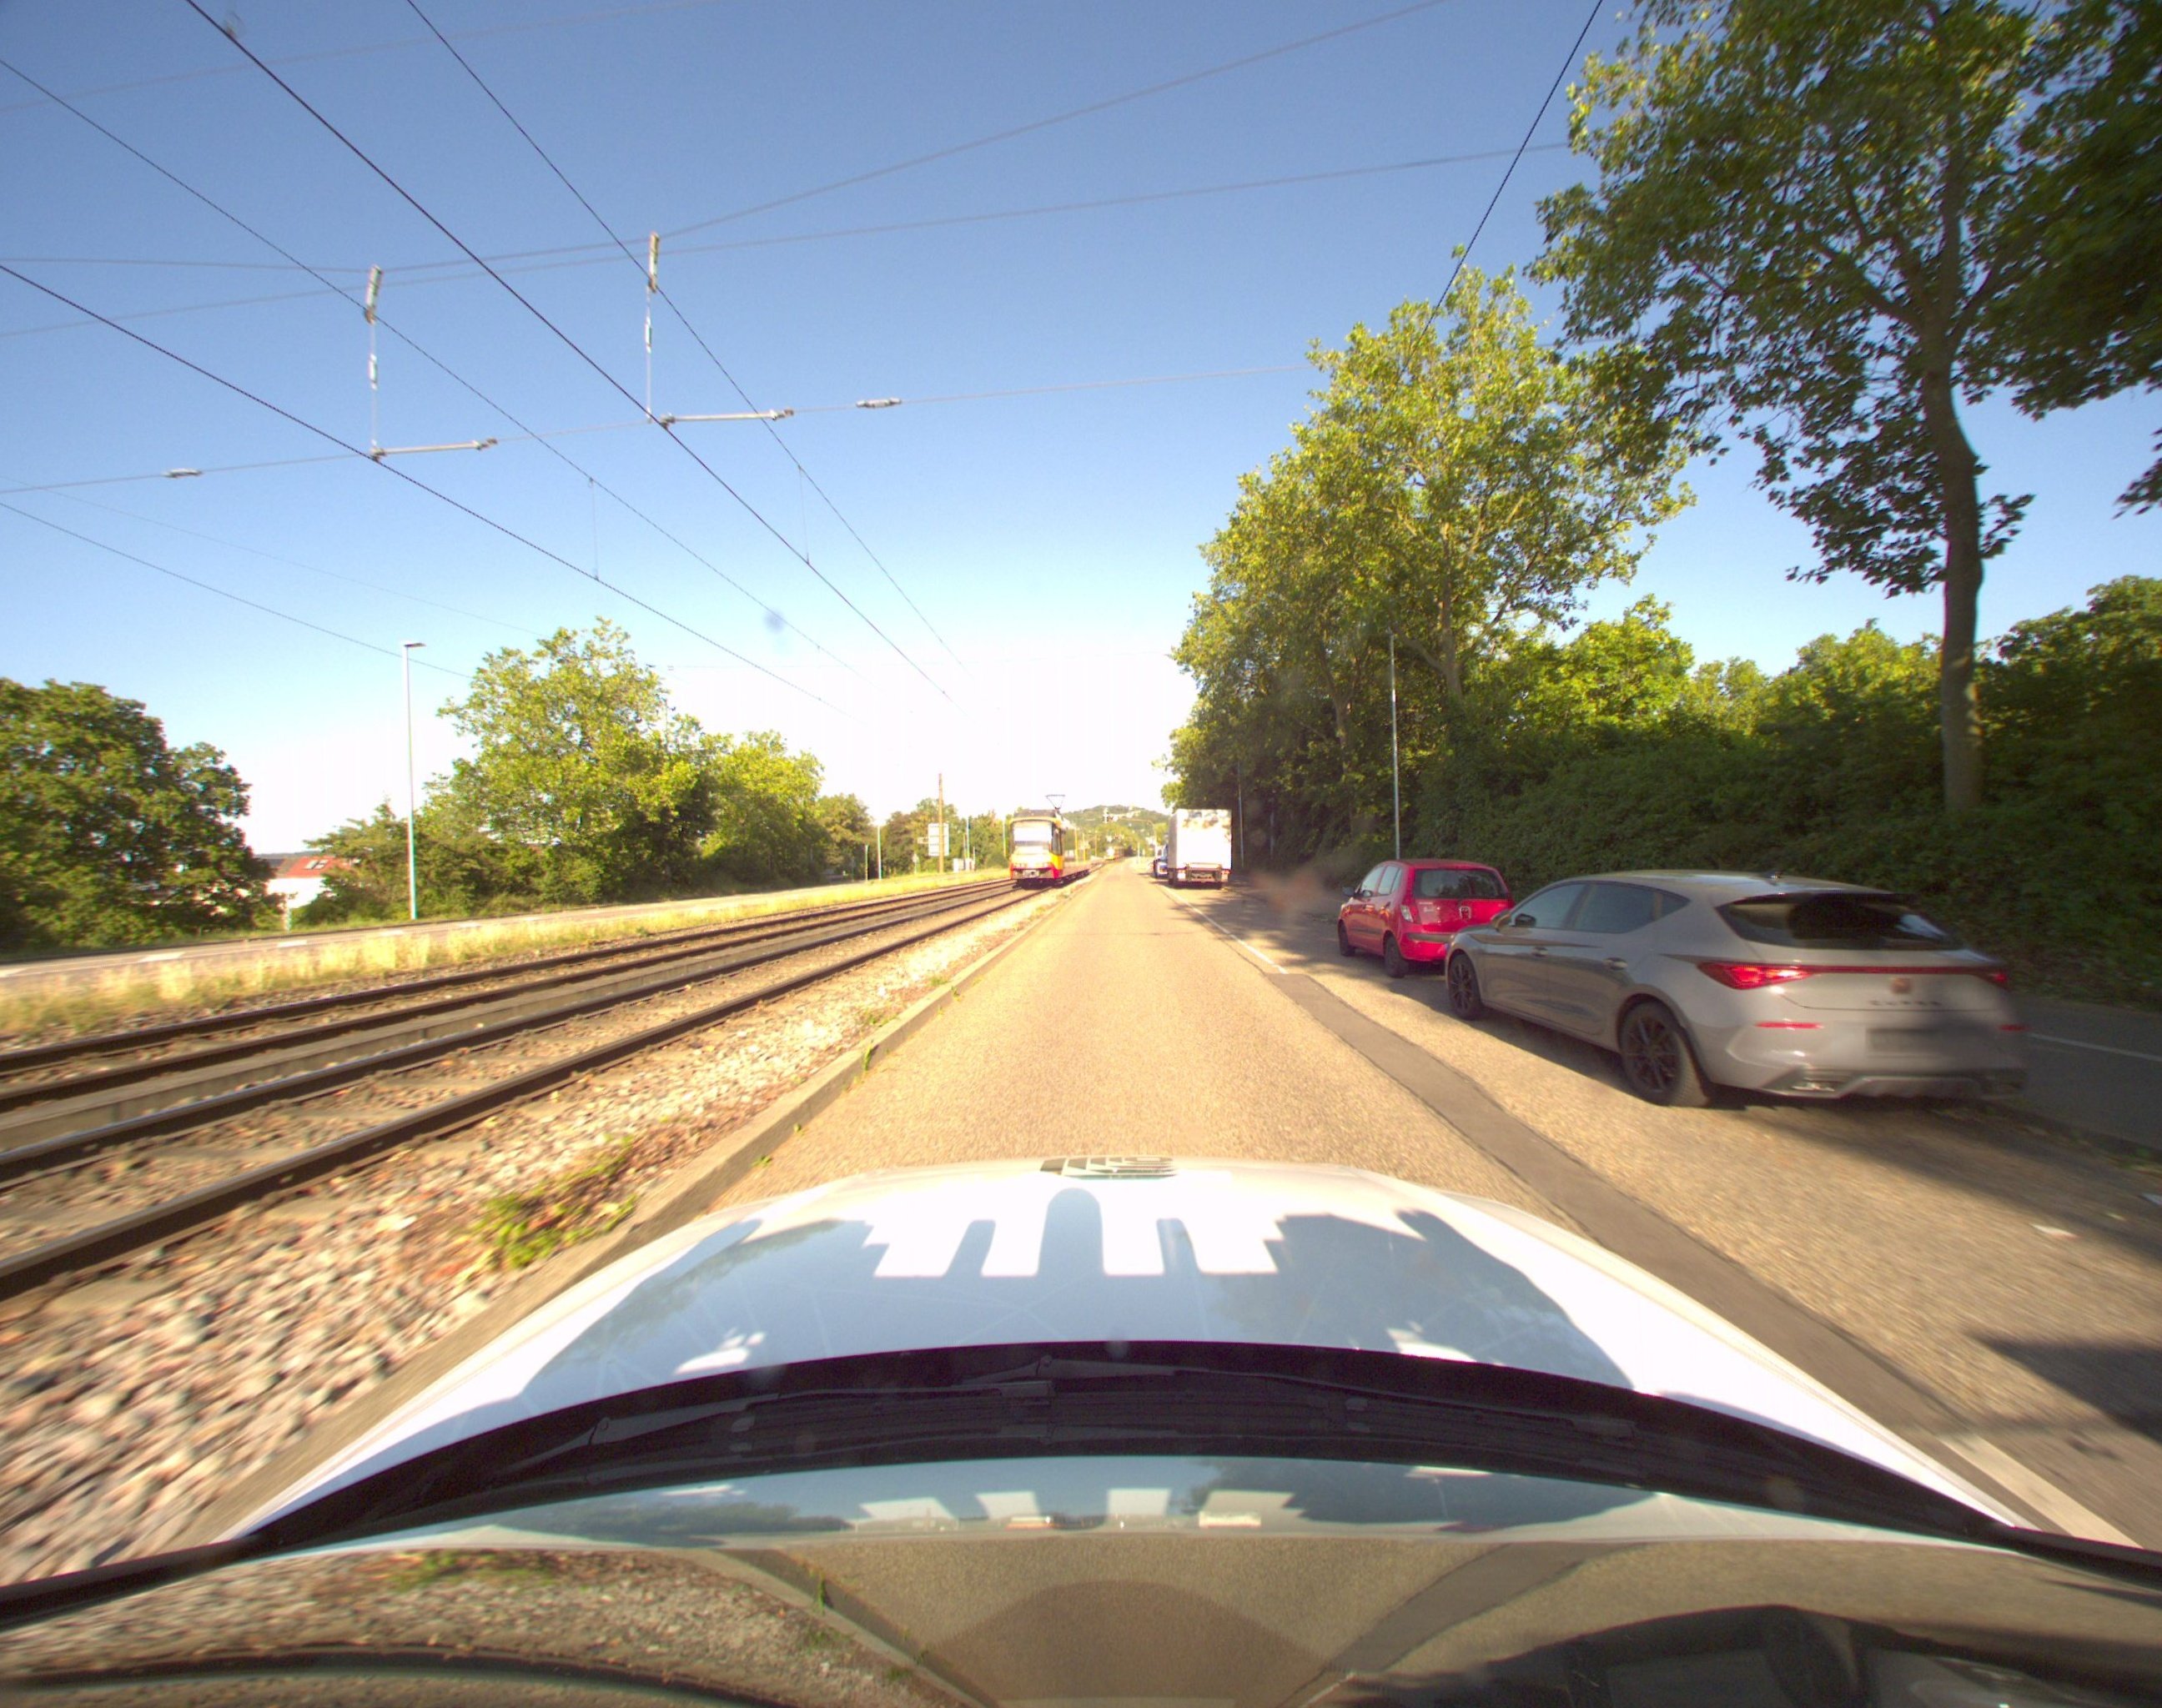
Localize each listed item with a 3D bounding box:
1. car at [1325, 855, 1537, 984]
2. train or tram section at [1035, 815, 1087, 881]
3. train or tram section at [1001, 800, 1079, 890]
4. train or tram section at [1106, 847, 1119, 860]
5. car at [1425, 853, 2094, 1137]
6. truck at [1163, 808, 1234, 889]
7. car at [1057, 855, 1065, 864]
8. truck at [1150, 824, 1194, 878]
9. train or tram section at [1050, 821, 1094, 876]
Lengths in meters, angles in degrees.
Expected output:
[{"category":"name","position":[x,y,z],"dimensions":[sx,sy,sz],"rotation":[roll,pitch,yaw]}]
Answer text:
[{"category":"car","position":[4.824,0.810,11.780],"dimensions":[1.633,1.537,3.643],"rotation":[2,0,3]},{"category":"train or tram section","position":[-1.229,-0.384,56.533],"dimensions":[2.683,4.089,9.918],"rotation":[-2,0,3]},{"category":"train or tram section","position":[-1.915,-0.398,44.731],"dimensions":[2.710,4.091,13.626],"rotation":[-2,0,3]},{"category":"train or tram section","position":[8.875,-0.063,228.812],"dimensions":[2.630,3.567,10.851],"rotation":[-1,0,6]},{"category":"car","position":[4.421,0.752,6.340],"dimensions":[1.802,1.457,4.167],"rotation":[-1,0,2]},{"category":"truck","position":[5.993,-0.222,43.166],"dimensions":[2.731,3.783,10.095],"rotation":[1,0,3]},{"category":"car","position":[-4.773,1.270,192.266],"dimensions":[1.718,2.014,3.998],"rotation":[0,-1,0]},{"category":"truck","position":[6.822,-0.176,62.522],"dimensions":[2.706,3.783,9.767],"rotation":[1,0,3]},{"category":"train or tram section","position":[-0.606,-0.397,67.880],"dimensions":[2.708,4.089,12.823],"rotation":[-2,0,3]}]
